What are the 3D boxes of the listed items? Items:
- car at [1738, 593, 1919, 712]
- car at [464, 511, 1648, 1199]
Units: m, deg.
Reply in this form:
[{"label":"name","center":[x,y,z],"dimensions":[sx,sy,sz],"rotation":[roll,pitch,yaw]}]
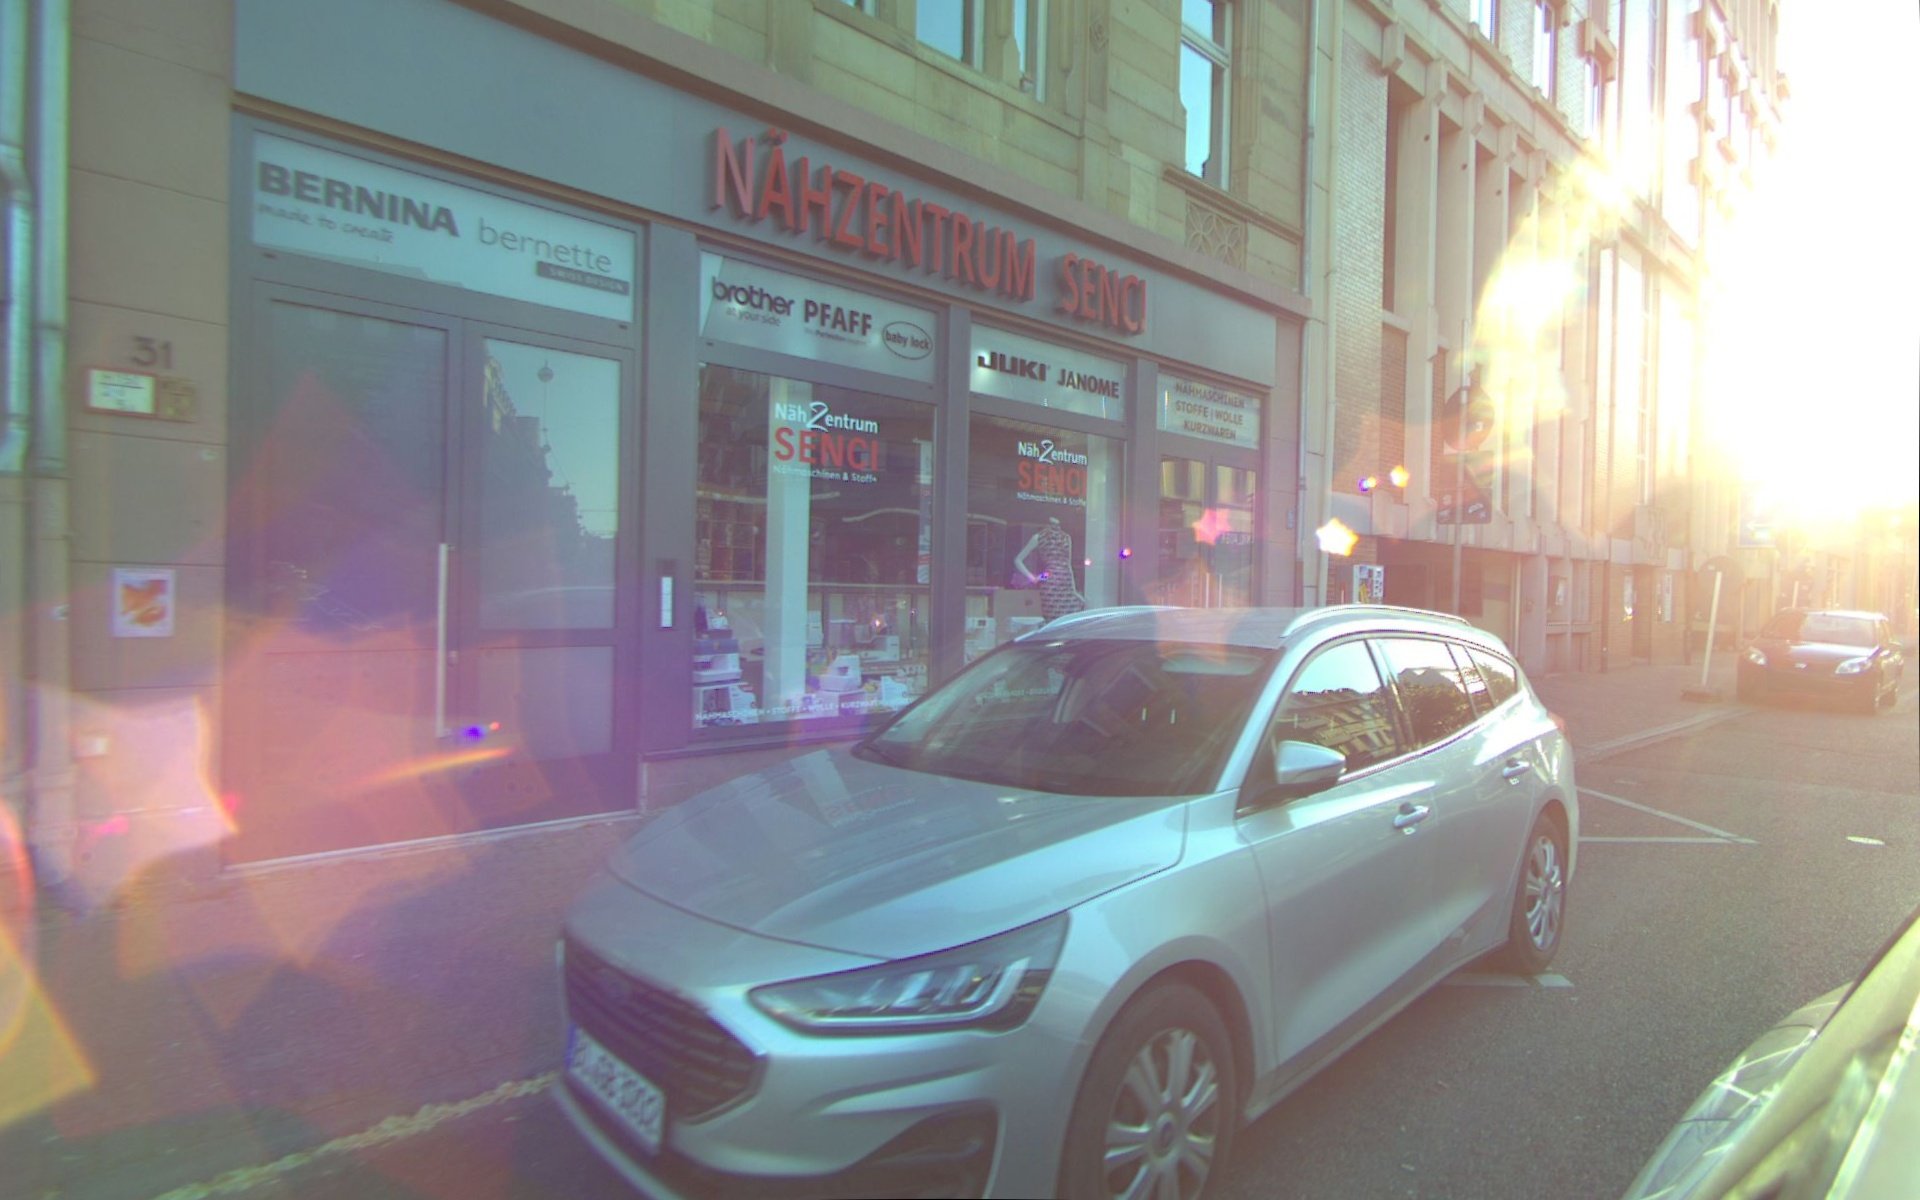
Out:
[{"label":"car","center":[14.055,0.745,16.160],"dimensions":[3.930,1.555,1.763],"rotation":[1,4,-41]},{"label":"car","center":[0.946,0.642,3.783],"dimensions":[4.742,1.556,1.760],"rotation":[0,-1,-44]}]
